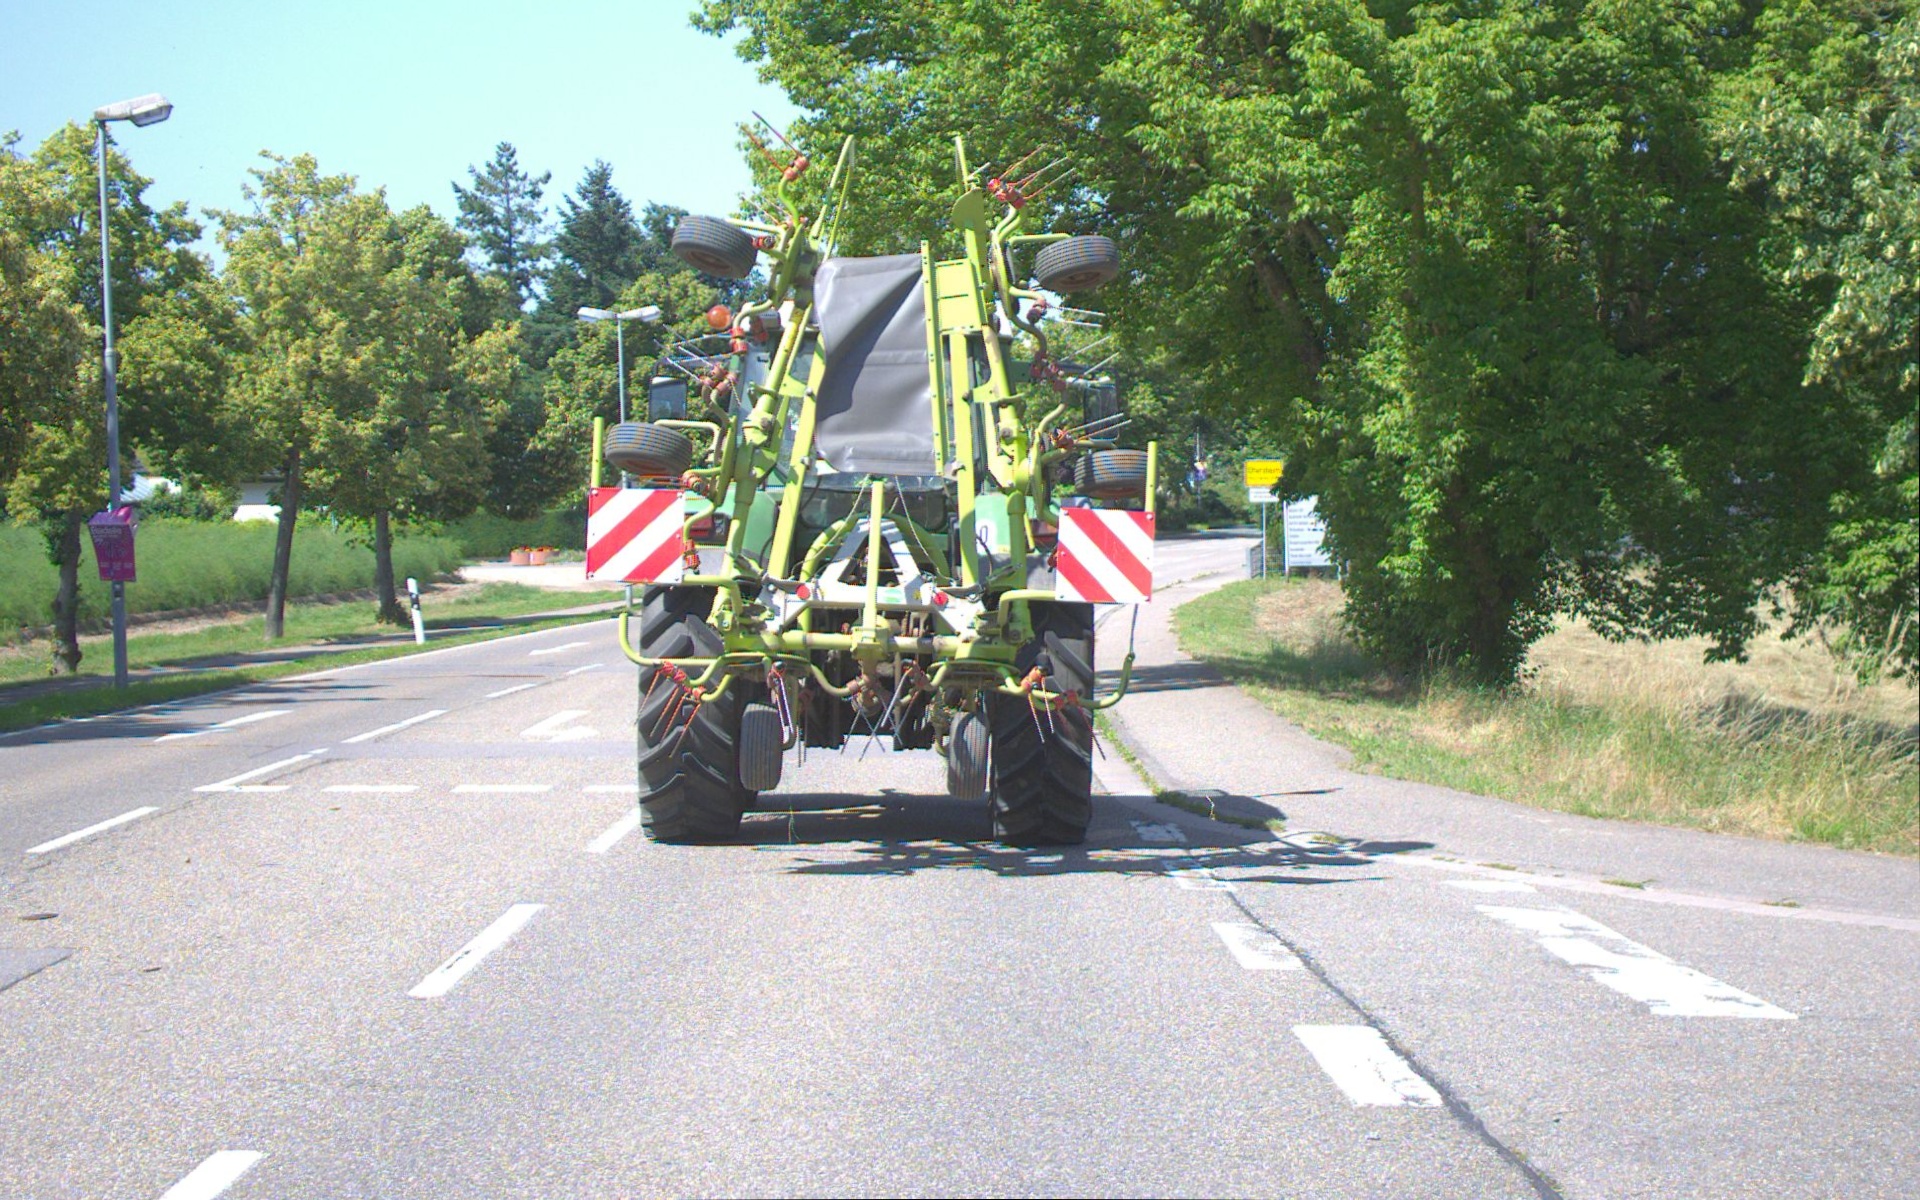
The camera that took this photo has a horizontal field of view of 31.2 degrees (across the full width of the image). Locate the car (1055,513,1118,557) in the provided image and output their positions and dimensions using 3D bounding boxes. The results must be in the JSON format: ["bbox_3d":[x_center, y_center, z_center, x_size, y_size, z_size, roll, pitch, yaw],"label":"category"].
[{"bbox_3d":[4.468,-2.302,120.860,1.649,1.429,3.895,2,2,10],"label":"car"}]

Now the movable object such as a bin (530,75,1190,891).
[{"bbox_3d":[-0.541,-0.594,19.752,2.852,3.529,9.701,0,1,-1],"label":"movable object such as a bin"}]
